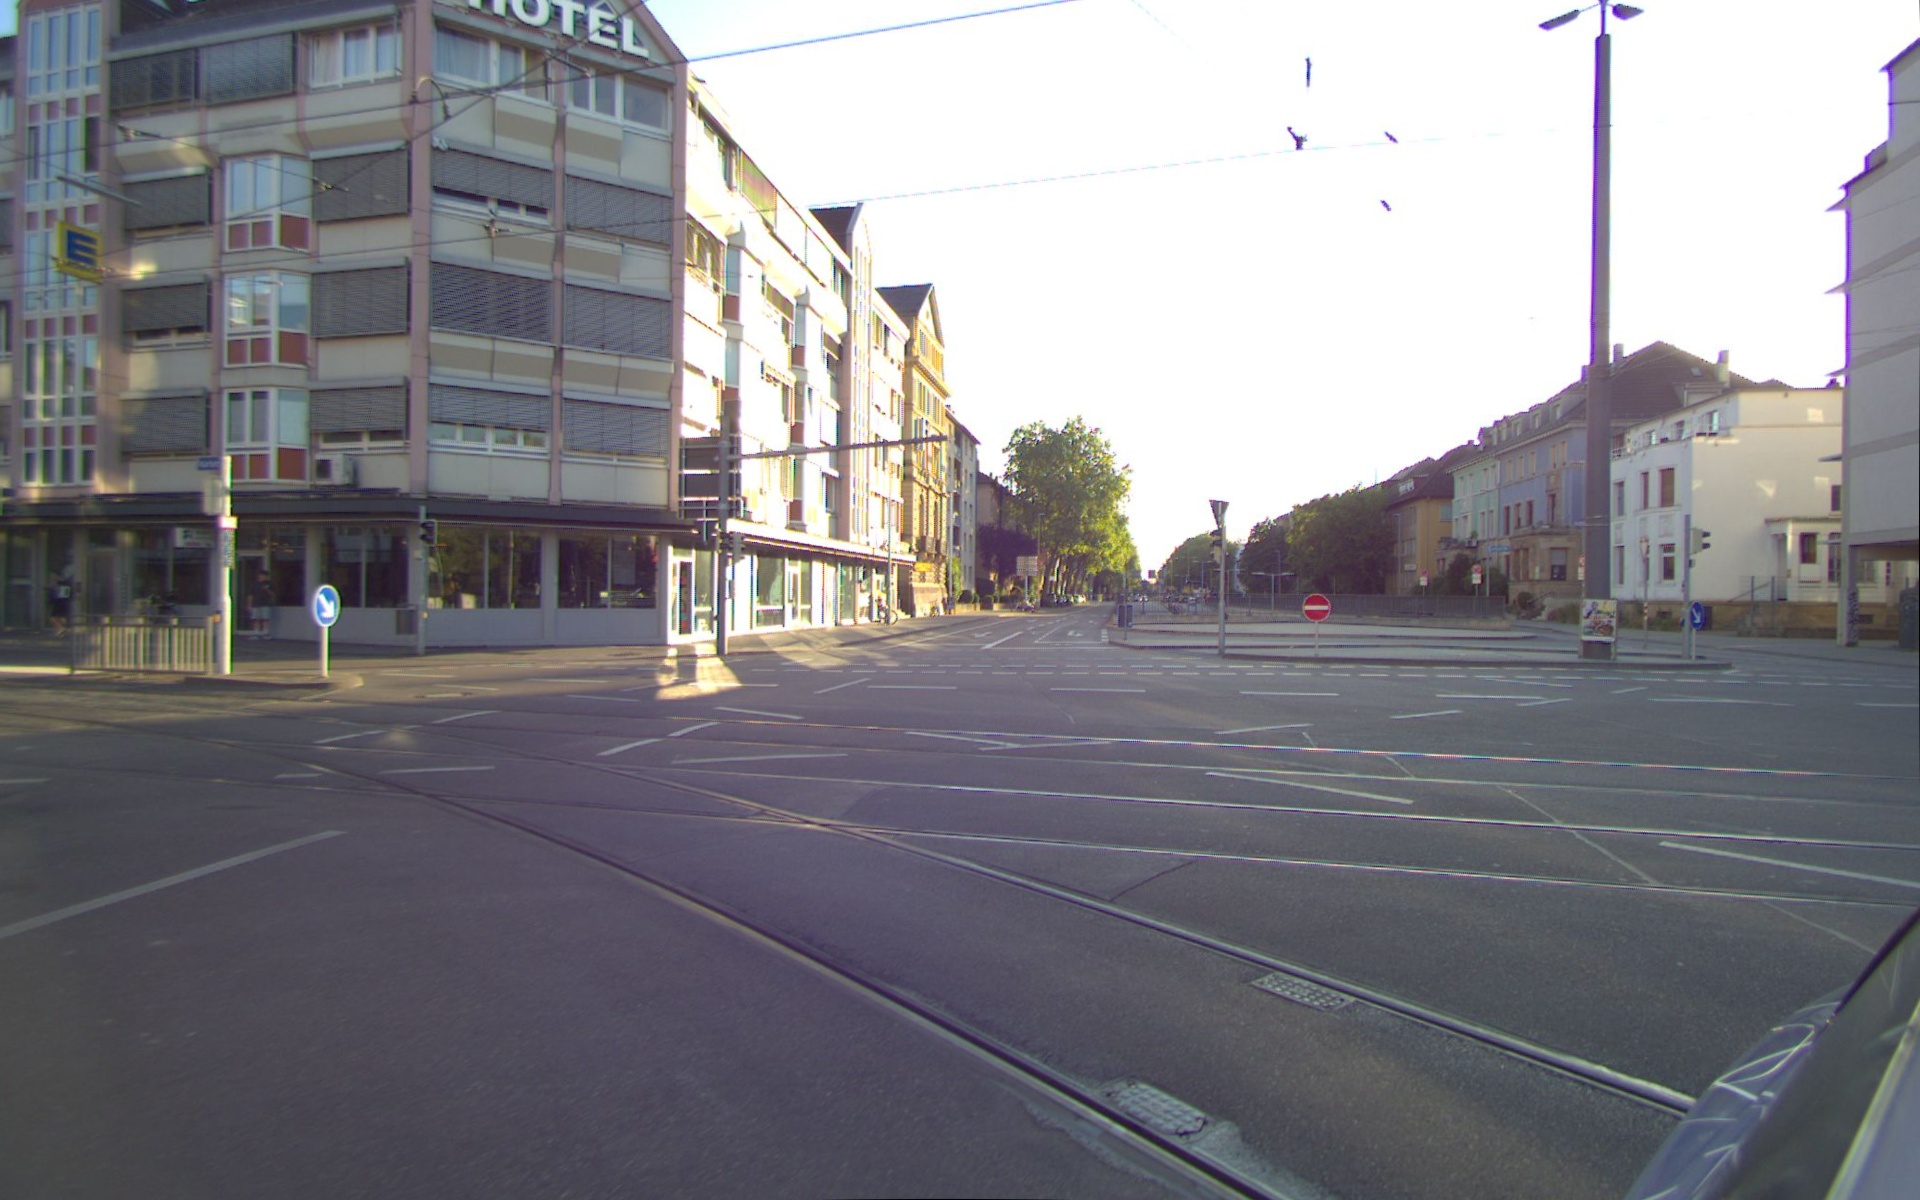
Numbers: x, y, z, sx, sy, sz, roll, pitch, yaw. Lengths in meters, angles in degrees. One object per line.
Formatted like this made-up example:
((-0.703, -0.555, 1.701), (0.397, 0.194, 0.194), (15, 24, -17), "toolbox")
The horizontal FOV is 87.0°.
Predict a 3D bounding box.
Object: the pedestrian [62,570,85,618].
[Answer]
((-23.991, -0.170, 27.388), (0.469, 1.262, 0.471), (0, 1, -42), "pedestrian")

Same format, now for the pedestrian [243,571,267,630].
((-18.466, 0.004, 26.514), (0.469, 1.511, 0.471), (0, 1, -42), "pedestrian")
